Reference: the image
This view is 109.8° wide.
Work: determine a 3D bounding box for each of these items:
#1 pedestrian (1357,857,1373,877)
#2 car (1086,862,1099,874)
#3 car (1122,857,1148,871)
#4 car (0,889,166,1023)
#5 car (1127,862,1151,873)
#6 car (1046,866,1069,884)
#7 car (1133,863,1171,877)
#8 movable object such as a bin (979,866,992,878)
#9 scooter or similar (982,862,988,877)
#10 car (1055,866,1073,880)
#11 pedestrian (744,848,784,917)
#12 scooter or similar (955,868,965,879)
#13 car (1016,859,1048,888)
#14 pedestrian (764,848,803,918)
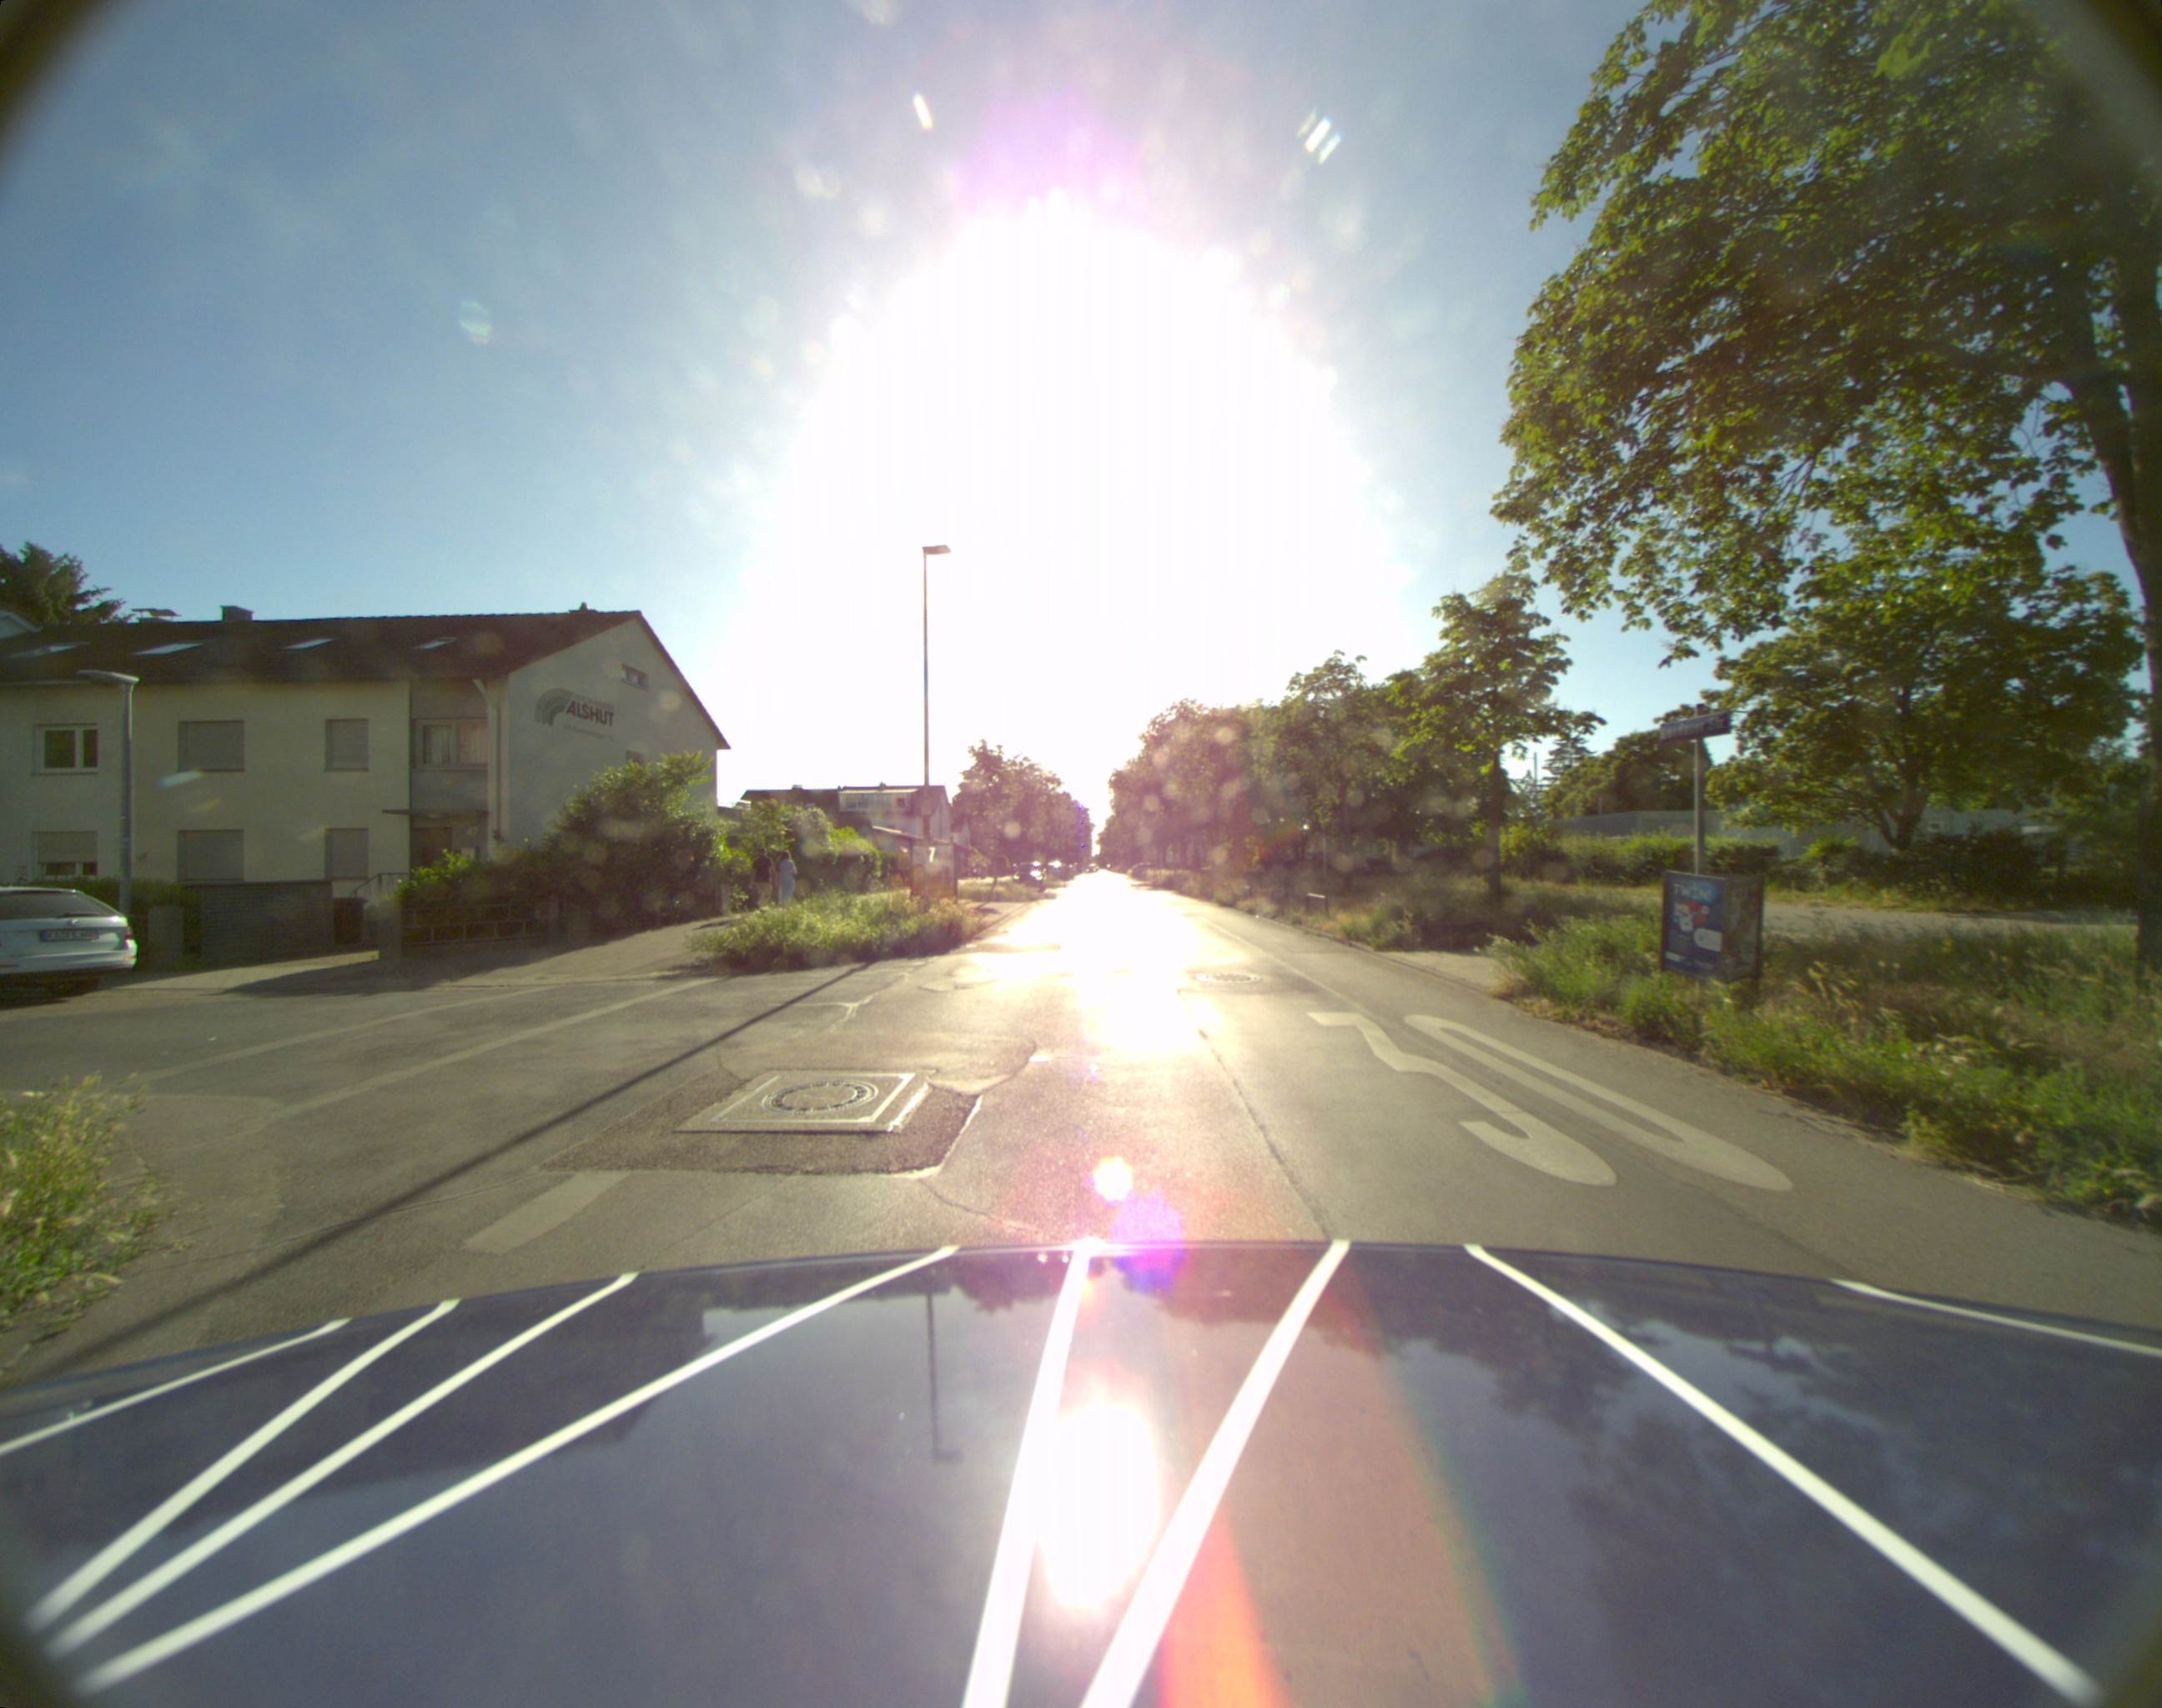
[{"bbox_3d":[16.569,0.763,44.327,0.639,1.150,0.522,-4,0,0],"label":"pedestrian"},{"bbox_3d":[1.935,2.292,125.071,1.998,2.002,4.000,-2,0,2],"label":"car"},{"bbox_3d":[10.740,1.990,150.687,5.121,2.596,2.126,-2,0,4],"label":"car"},{"bbox_3d":[-14.346,1.219,9.287,4.204,1.493,1.807,-1,-1,1],"label":"car"},{"bbox_3d":[10.180,2.327,134.204,3.997,1.739,1.890,-2,0,0],"label":"car"},{"bbox_3d":[-2.181,1.932,70.378,1.732,1.568,3.859,0,-1,4],"label":"car"},{"bbox_3d":[8.157,1.827,87.864,4.203,1.552,2.000,-2,0,2],"label":"car"},{"bbox_3d":[-10.117,1.879,80.543,1.172,1.286,0.928,1,0,0],"label":"movable object such as a bin"},{"bbox_3d":[-8.491,1.359,67.347,0.503,1.288,0.461,1,0,-3],"label":"scooter or similar"},{"bbox_3d":[-1.769,2.042,80.684,1.733,1.473,3.858,0,-1,1],"label":"car"},{"bbox_3d":[-8.025,0.711,19.249,0.606,1.722,0.640,-2,0,17],"label":"pedestrian"},{"bbox_3d":[-8.721,1.392,54.692,0.450,0.712,1.228,3,0,0],"label":"scooter or similar"},{"bbox_3d":[-2.744,1.078,43.085,1.497,1.564,3.601,1,-1,1],"label":"car"},{"bbox_3d":[-7.459,0.710,19.073,0.555,1.722,0.662,-2,0,17],"label":"pedestrian"}]
